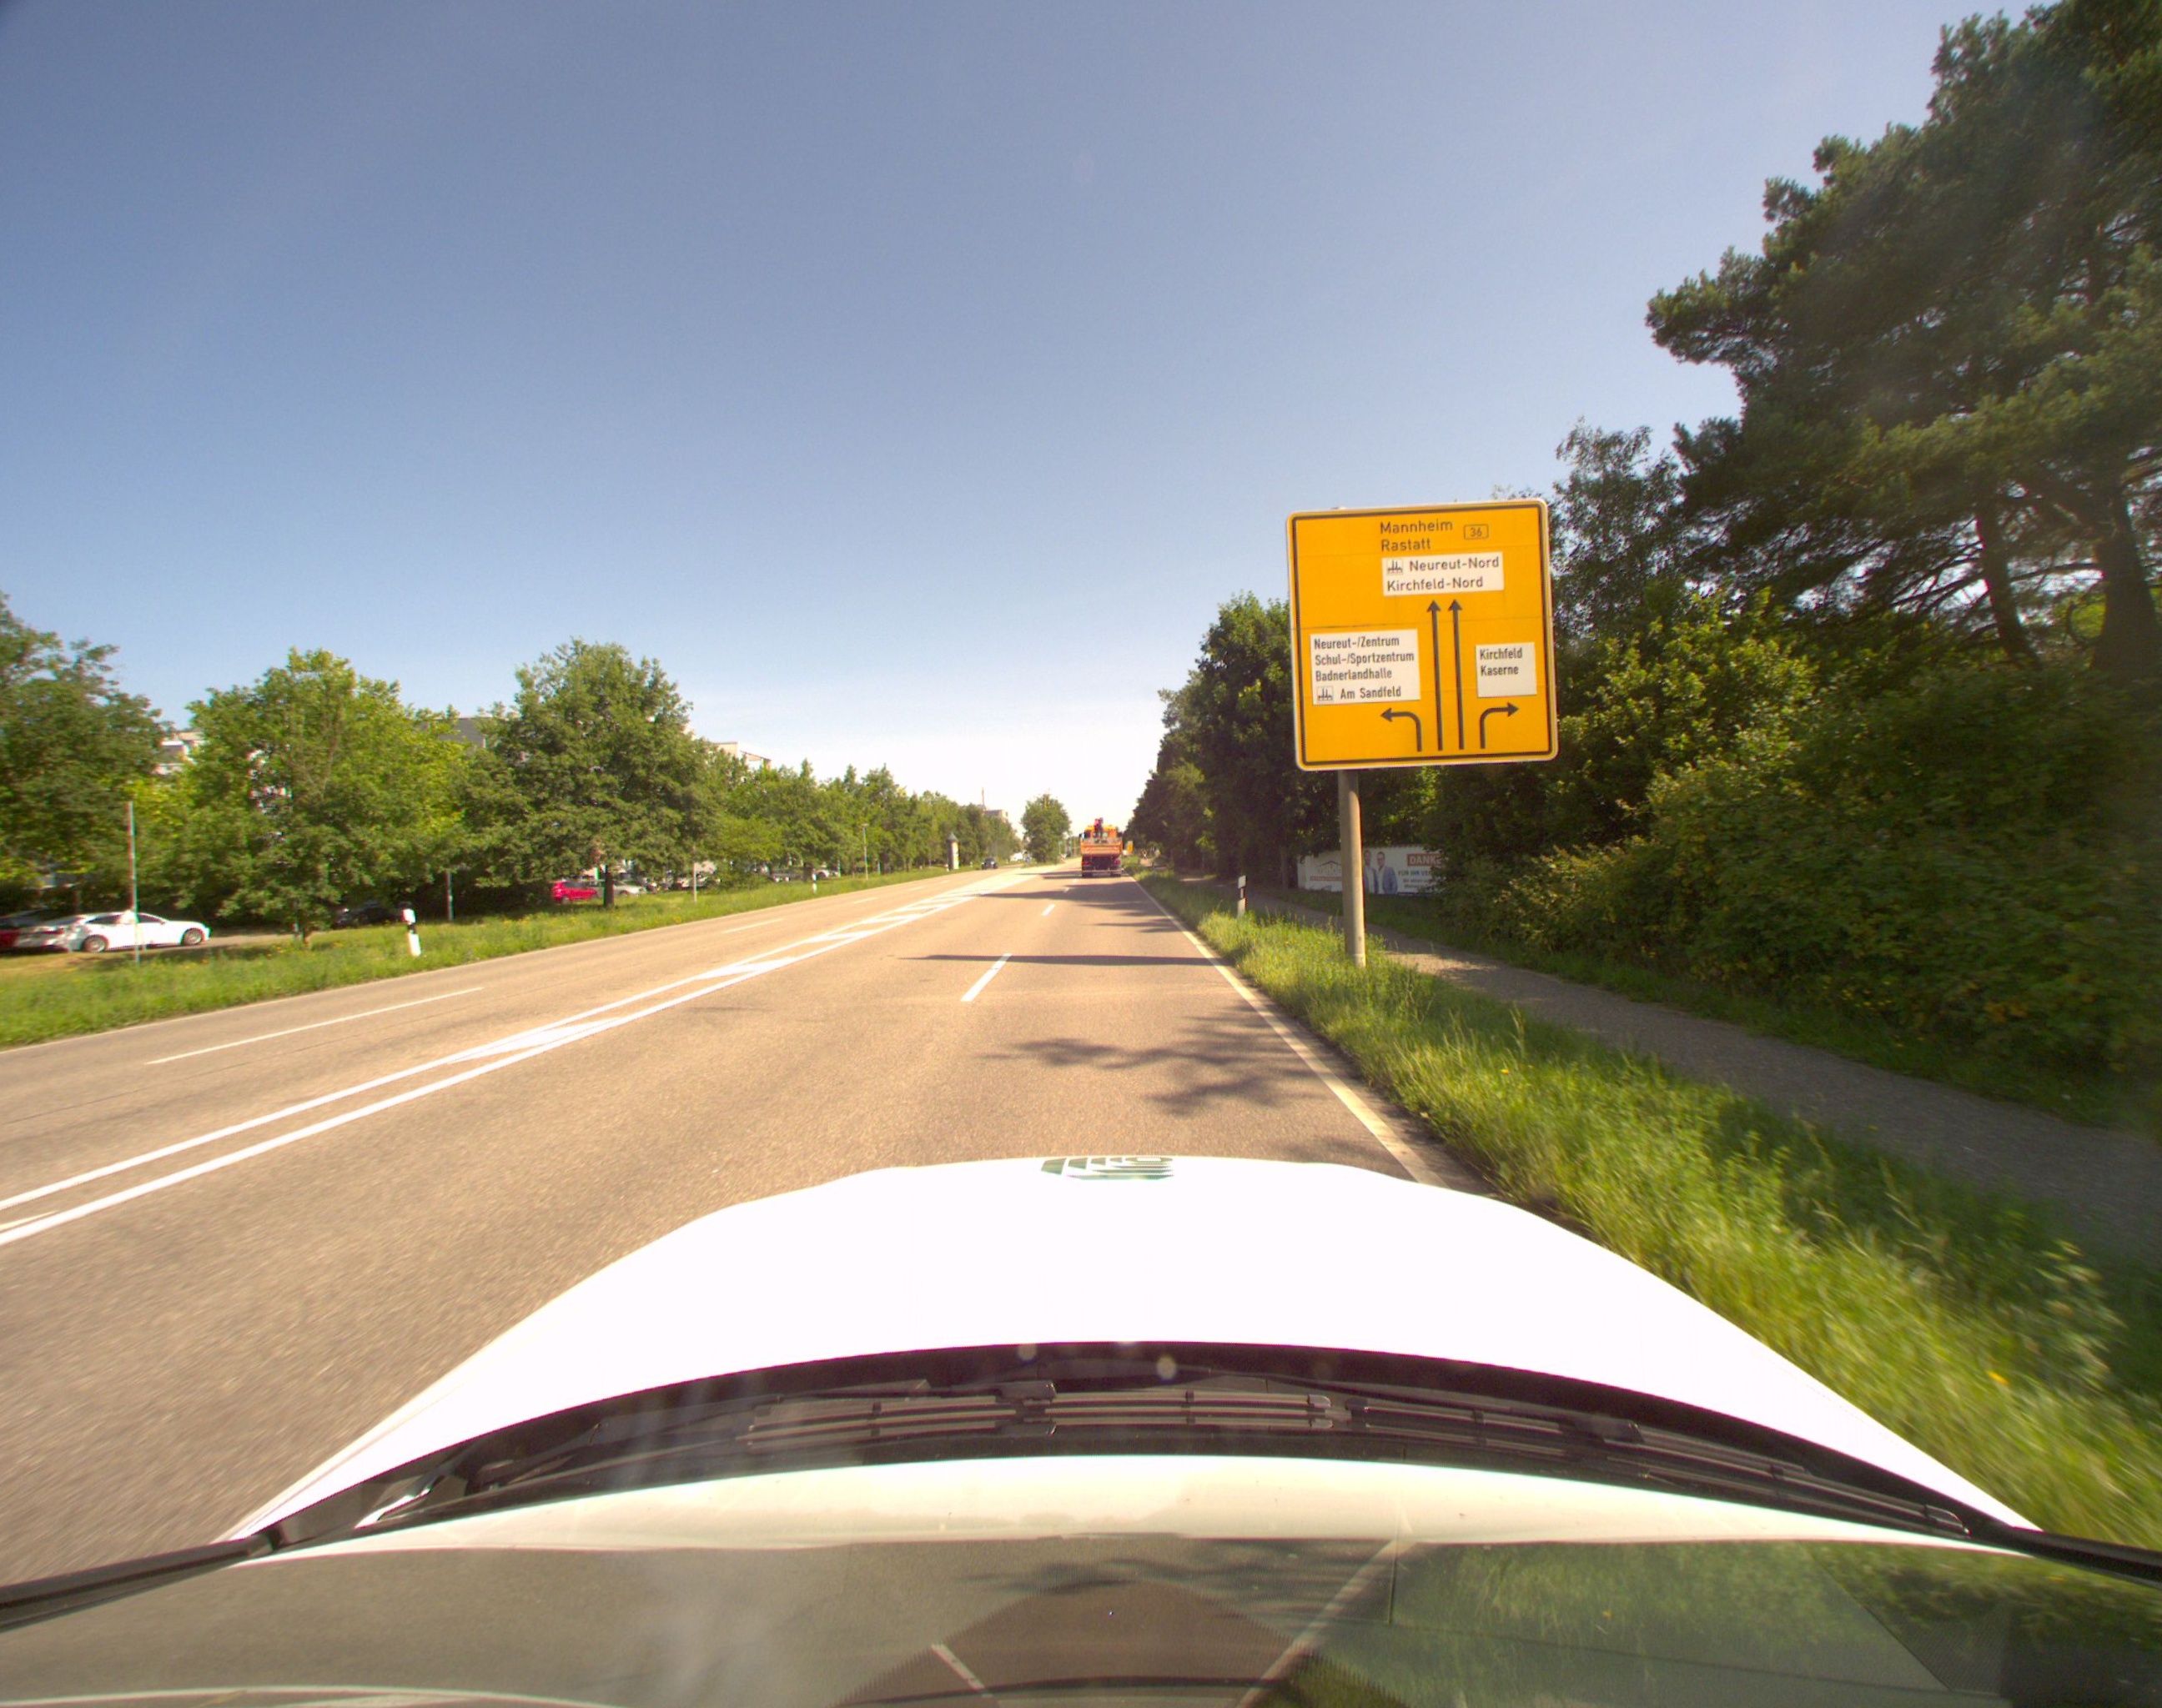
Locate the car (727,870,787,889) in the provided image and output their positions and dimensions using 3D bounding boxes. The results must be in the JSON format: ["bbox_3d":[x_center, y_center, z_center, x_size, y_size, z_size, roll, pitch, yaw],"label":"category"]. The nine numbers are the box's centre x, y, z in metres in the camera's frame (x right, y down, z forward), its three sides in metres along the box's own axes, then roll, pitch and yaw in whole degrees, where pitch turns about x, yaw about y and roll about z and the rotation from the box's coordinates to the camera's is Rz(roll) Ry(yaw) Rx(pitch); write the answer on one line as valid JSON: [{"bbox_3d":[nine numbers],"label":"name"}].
[{"bbox_3d":[-29.706,2.325,74.754,4.578,1.437,2.001,-3,0,1],"label":"car"}]

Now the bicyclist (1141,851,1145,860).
[{"bbox_3d":[10.289,0.244,135.018,0.556,1.558,0.558,-3,0,1],"label":"bicyclist"}]

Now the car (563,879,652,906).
[{"bbox_3d":[-30.663,2.485,52.827,4.578,1.437,2.001,-3,0,1],"label":"car"}]

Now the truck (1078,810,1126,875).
[{"bbox_3d":[1.239,-0.705,52.885,2.863,3.880,7.398,-1,0,0],"label":"truck"}]

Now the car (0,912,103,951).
[{"bbox_3d":[-49.384,3.655,37.908,1.986,1.437,4.611,-3,0,1],"label":"car"}]

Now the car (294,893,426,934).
[{"bbox_3d":[-34.114,2.774,38.737,1.986,1.437,4.611,-3,0,1],"label":"car"}]

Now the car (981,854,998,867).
[{"bbox_3d":[-12.631,0.859,112.810,1.794,1.572,4.001,-4,0,1],"label":"car"}]

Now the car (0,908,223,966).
[{"bbox_3d":[-34.025,2.849,28.767,1.985,1.437,4.959,-3,0,3],"label":"car"}]

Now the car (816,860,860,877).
[{"bbox_3d":[-29.347,1.745,98.517,4.513,1.757,2.002,-3,0,4],"label":"car"}]

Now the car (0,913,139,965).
[{"bbox_3d":[-36.635,2.998,28.217,1.985,1.437,4.959,-3,0,3],"label":"car"}]

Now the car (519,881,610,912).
[{"bbox_3d":[-29.682,2.416,47.007,1.985,1.437,4.615,-3,0,4],"label":"car"}]

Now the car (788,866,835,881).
[{"bbox_3d":[-30.404,2.198,91.870,4.578,1.437,2.001,-3,0,1],"label":"car"}]

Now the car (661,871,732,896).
[{"bbox_3d":[-30.584,2.343,64.831,4.578,1.650,2.000,-3,0,1],"label":"car"}]

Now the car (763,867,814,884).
[{"bbox_3d":[-30.633,2.235,85.431,4.578,1.437,2.001,-3,0,1],"label":"car"}]
